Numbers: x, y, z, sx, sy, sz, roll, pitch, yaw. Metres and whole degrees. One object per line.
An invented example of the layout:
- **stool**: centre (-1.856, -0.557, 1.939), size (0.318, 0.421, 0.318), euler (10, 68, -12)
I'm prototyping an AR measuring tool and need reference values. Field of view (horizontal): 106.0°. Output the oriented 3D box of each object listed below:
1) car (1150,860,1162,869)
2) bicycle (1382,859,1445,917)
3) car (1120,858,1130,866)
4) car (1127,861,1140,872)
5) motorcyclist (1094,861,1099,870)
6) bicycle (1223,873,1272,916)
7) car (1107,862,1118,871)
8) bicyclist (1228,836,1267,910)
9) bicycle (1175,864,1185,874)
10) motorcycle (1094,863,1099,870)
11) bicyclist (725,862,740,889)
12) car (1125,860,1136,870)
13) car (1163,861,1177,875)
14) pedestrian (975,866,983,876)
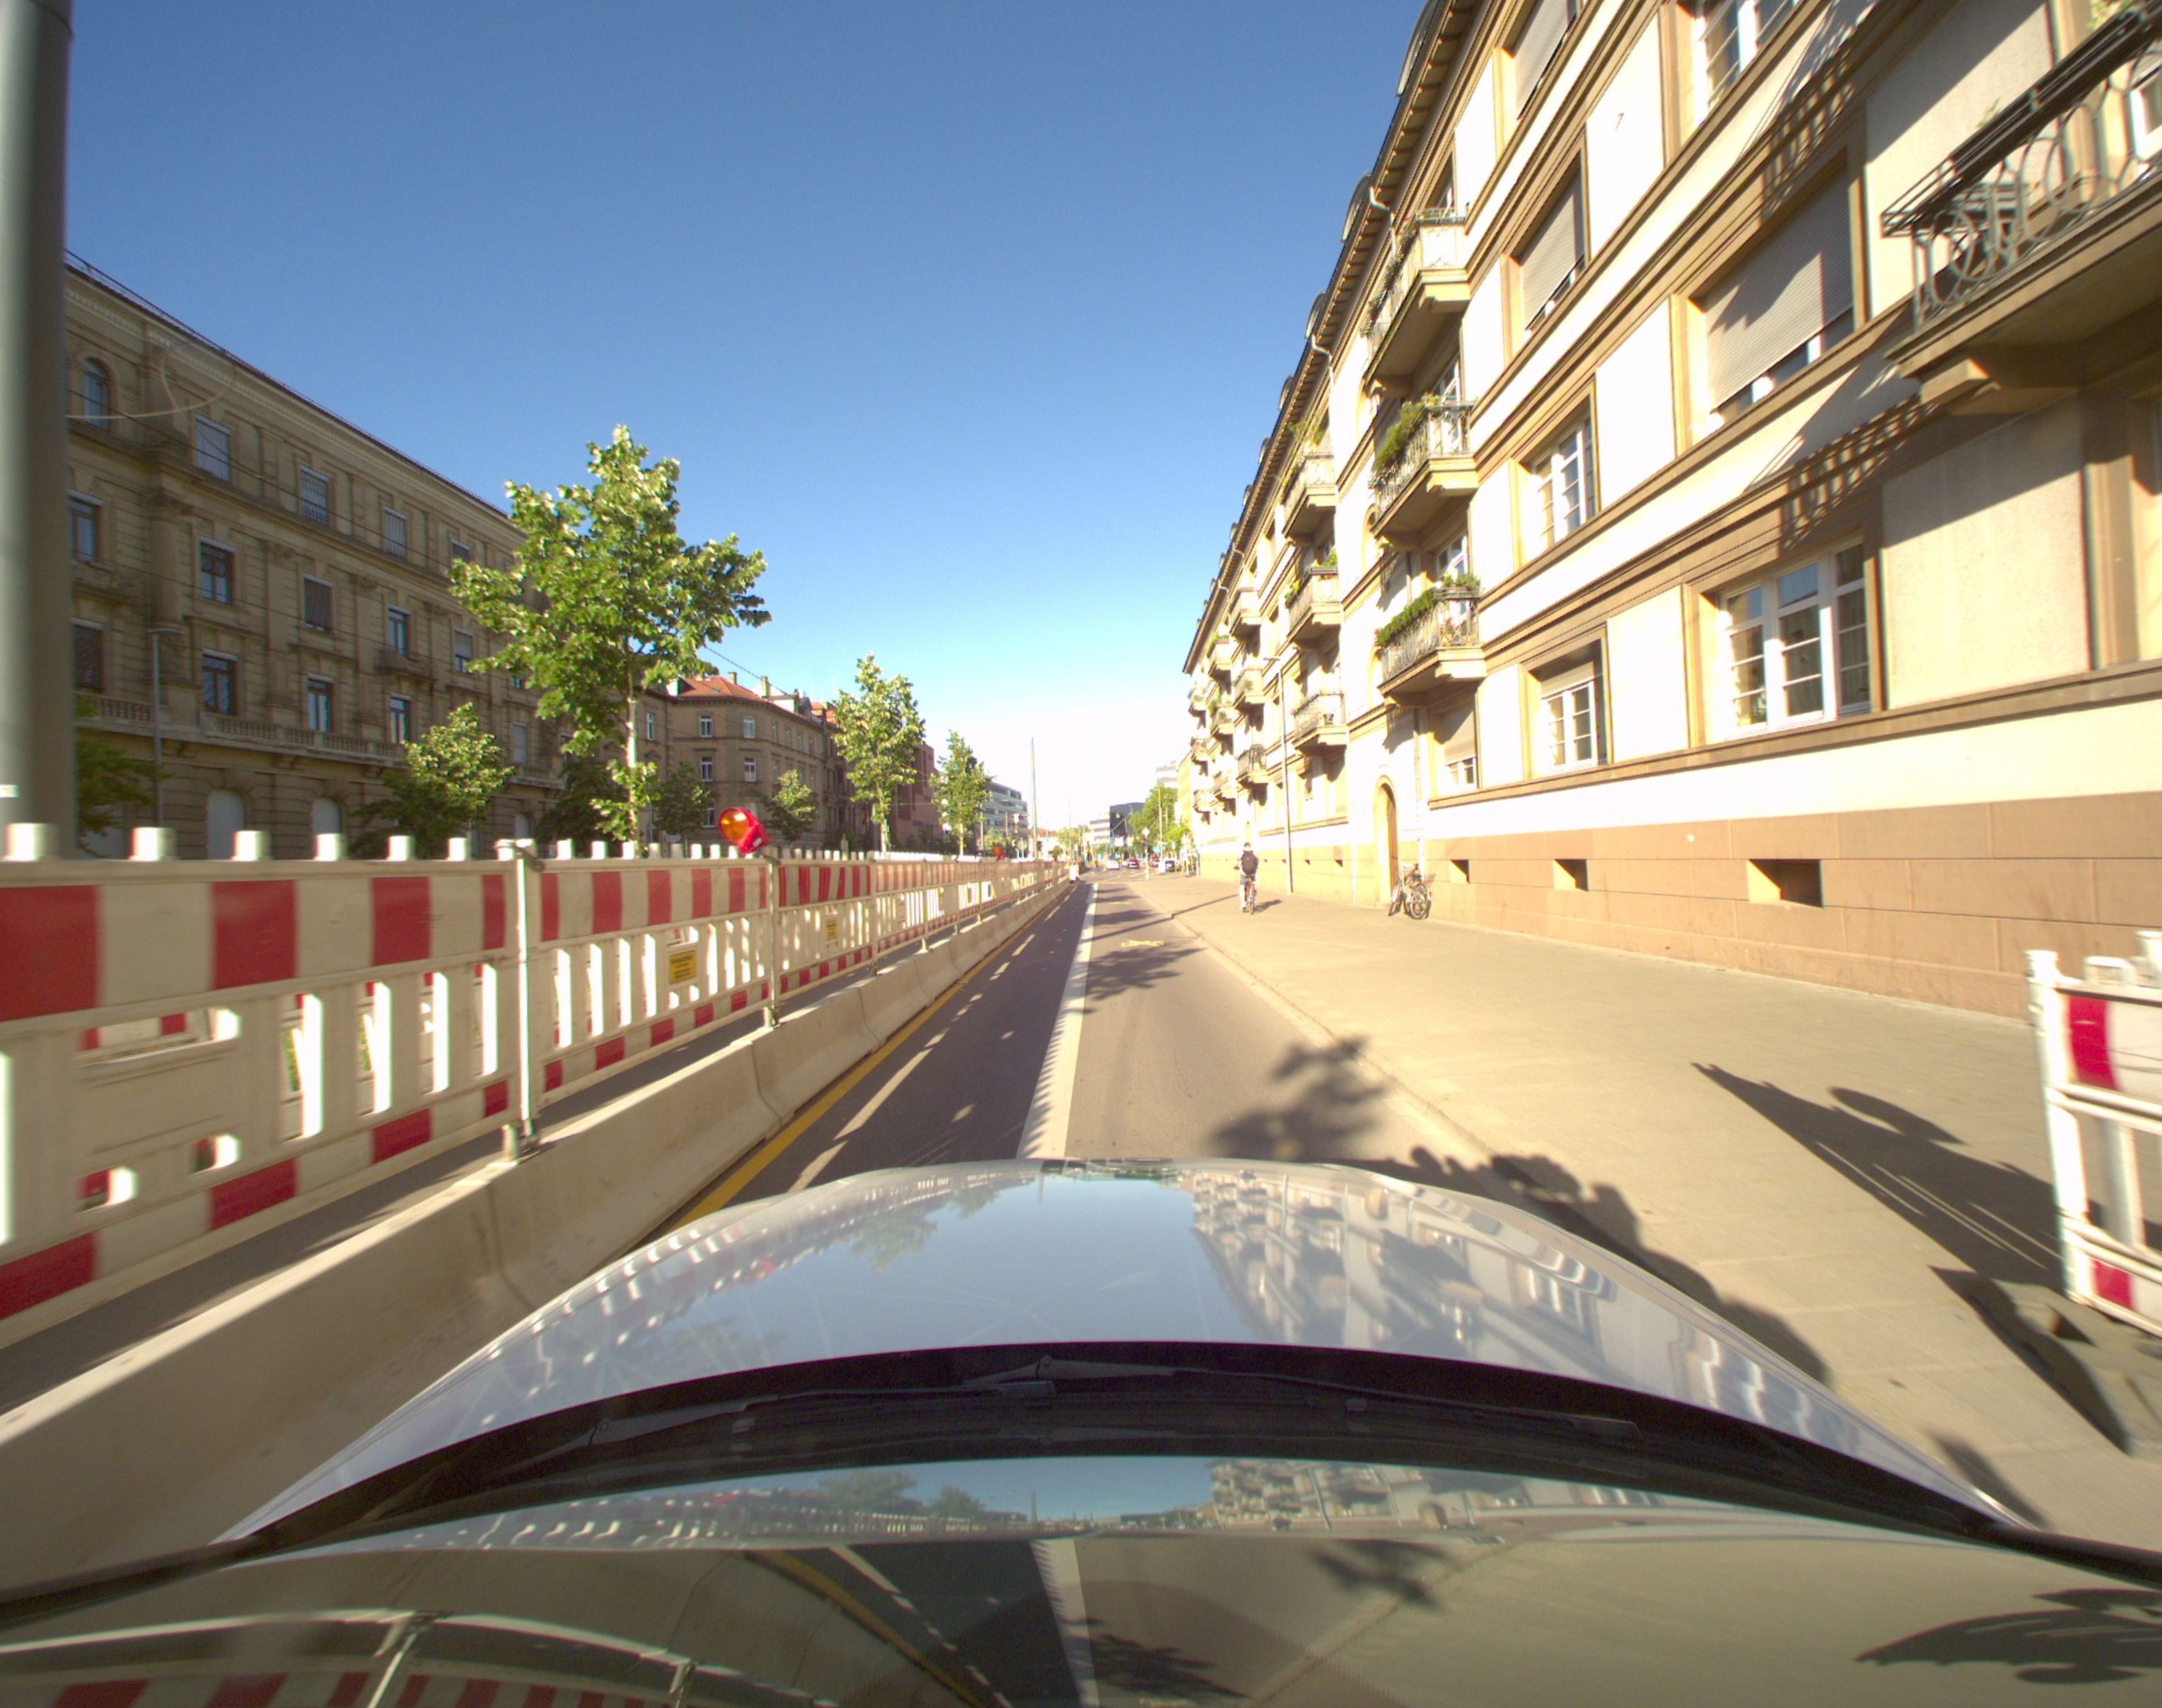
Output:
- **car**: centre (13.566, 1.869, 146.967), size (1.839, 1.560, 4.636), euler (0, 2, 2)
- **bicycle**: centre (6.790, 0.672, 16.757), size (0.416, 1.095, 2.199), euler (-2, -1, 2)
- **car**: centre (8.625, 1.529, 159.813), size (1.844, 1.498, 4.380), euler (-2, 0, 2)
- **car**: centre (8.708, 2.119, 135.356), size (1.967, 1.759, 4.635), euler (0, -1, 2)
- **motorcyclist**: centre (2.992, 2.169, 155.487), size (1.015, 1.603, 1.149), euler (0, -1, 2)
- **bicycle**: centre (4.114, 0.987, 20.301), size (0.764, 0.953, 2.198), euler (-2, -1, 1)
- **car**: centre (5.045, 1.952, 129.632), size (1.774, 1.414, 4.820), euler (0, -1, 2)
- **bicyclist**: centre (4.103, 0.471, 20.136), size (0.730, 1.763, 0.938), euler (-2, -1, 1)
- **bicycle**: centre (11.712, 1.785, 96.127), size (0.763, 1.081, 1.996), euler (-7, -2, -2)
- **motorcycle**: centre (2.995, 2.342, 155.405), size (1.015, 1.312, 2.916), euler (0, -1, 2)
- **bicyclist**: centre (-23.709, 1.467, 55.329), size (0.886, 1.774, 0.849), euler (-1, -1, -25)
- **car**: centre (8.711, 1.907, 143.010), size (1.844, 1.640, 4.380), euler (0, -1, 1)
- **car**: centre (11.606, 1.833, 106.067), size (1.711, 1.637, 4.240), euler (-3, -1, 8)
- **pedestrian**: centre (-12.030, 2.043, 96.195), size (0.718, 1.168, 0.722), euler (-4, -1, 2)
